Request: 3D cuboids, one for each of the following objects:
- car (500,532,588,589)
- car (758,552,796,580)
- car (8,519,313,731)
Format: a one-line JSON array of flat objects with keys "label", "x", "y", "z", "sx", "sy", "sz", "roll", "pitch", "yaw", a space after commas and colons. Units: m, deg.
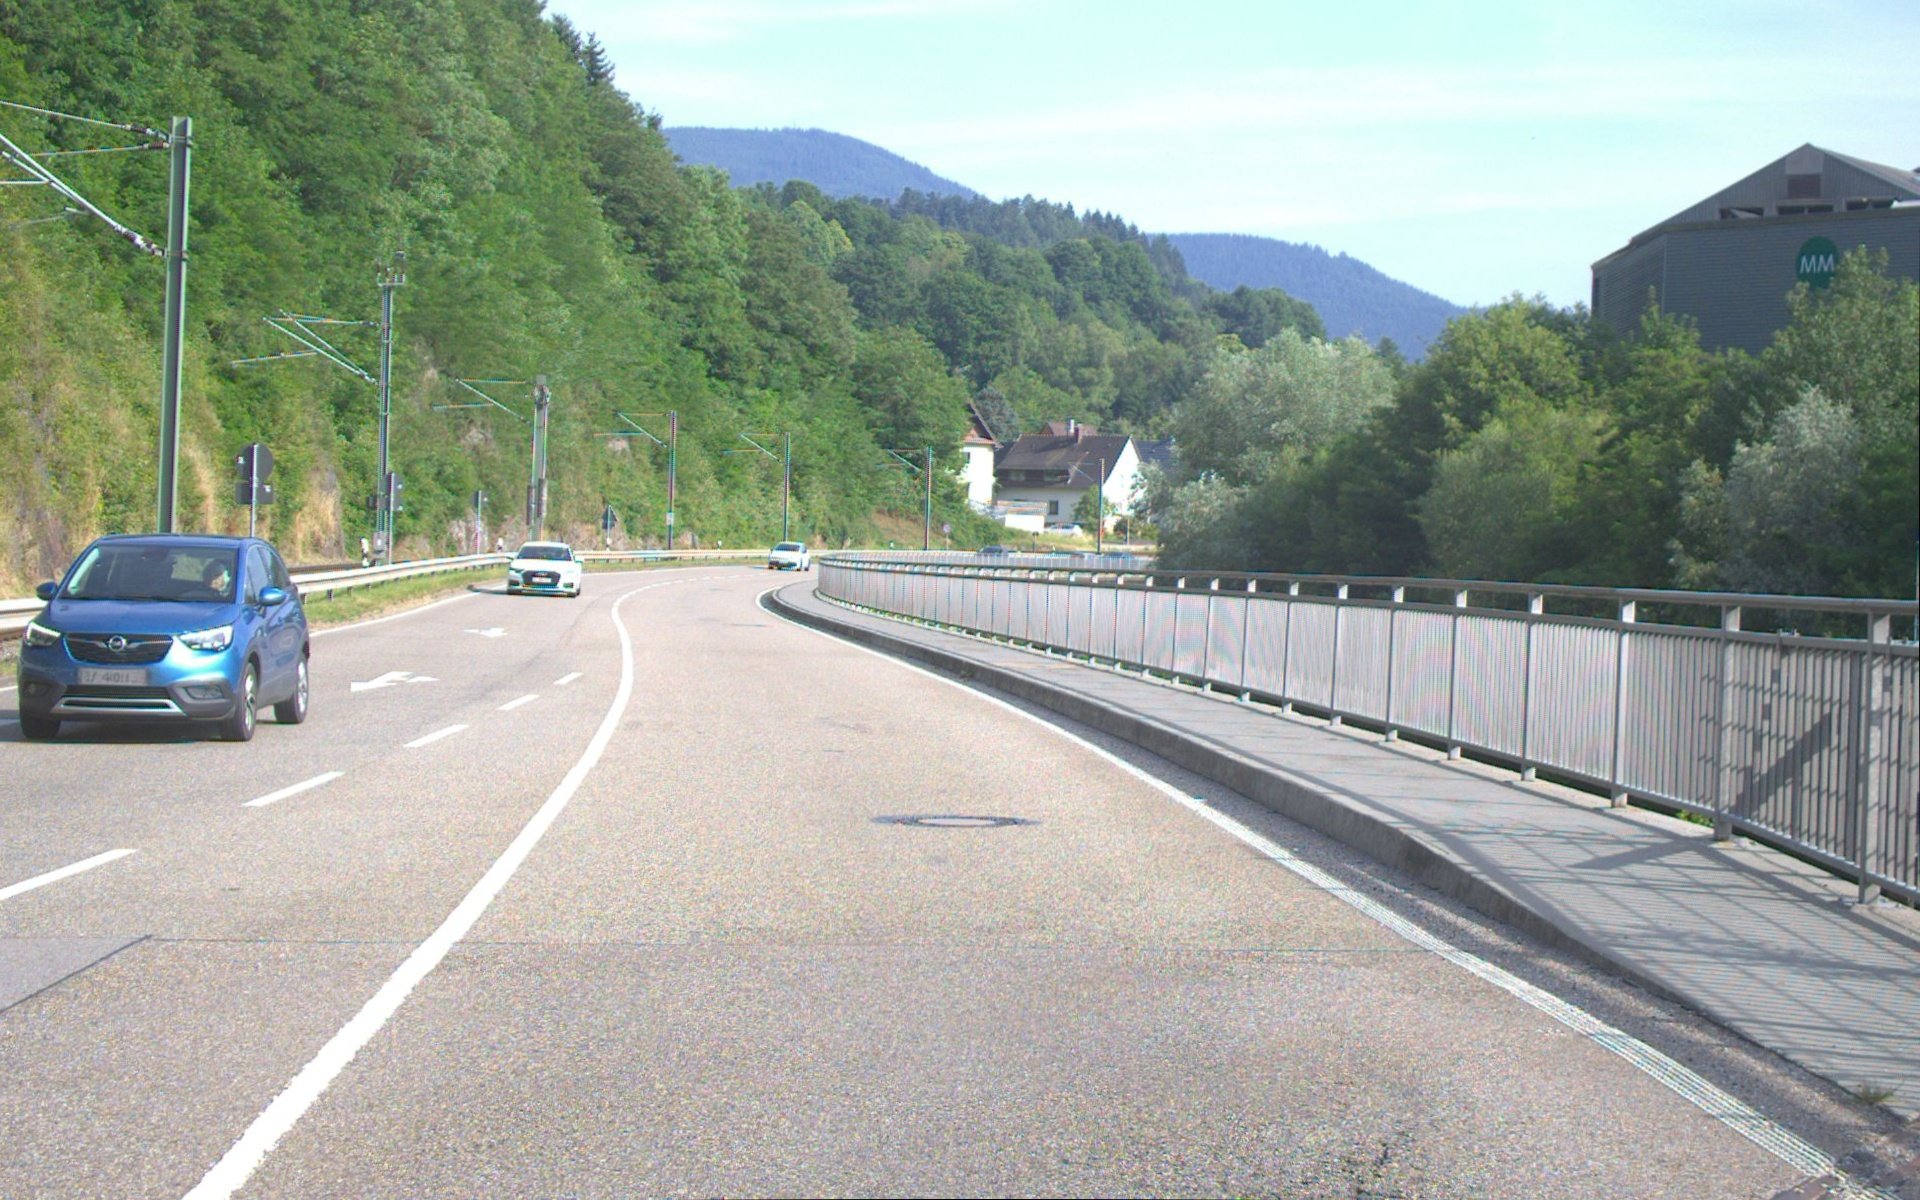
[{"label": "car", "x": -11.348, "y": -1.089, "z": 94.070, "sx": 2.063, "sy": 1.434, "sz": 4.687, "roll": 2, "pitch": 1, "yaw": -4}, {"label": "car", "x": -10.031, "y": -1.881, "z": 188.628, "sx": 1.847, "sy": 1.539, "sz": 4.604, "roll": 0, "pitch": 1, "yaw": -1}, {"label": "car", "x": -6.315, "y": 0.159, "z": 27.549, "sx": 1.718, "sy": 1.565, "sz": 4.136, "roll": 0, "pitch": 1, "yaw": -4}]
